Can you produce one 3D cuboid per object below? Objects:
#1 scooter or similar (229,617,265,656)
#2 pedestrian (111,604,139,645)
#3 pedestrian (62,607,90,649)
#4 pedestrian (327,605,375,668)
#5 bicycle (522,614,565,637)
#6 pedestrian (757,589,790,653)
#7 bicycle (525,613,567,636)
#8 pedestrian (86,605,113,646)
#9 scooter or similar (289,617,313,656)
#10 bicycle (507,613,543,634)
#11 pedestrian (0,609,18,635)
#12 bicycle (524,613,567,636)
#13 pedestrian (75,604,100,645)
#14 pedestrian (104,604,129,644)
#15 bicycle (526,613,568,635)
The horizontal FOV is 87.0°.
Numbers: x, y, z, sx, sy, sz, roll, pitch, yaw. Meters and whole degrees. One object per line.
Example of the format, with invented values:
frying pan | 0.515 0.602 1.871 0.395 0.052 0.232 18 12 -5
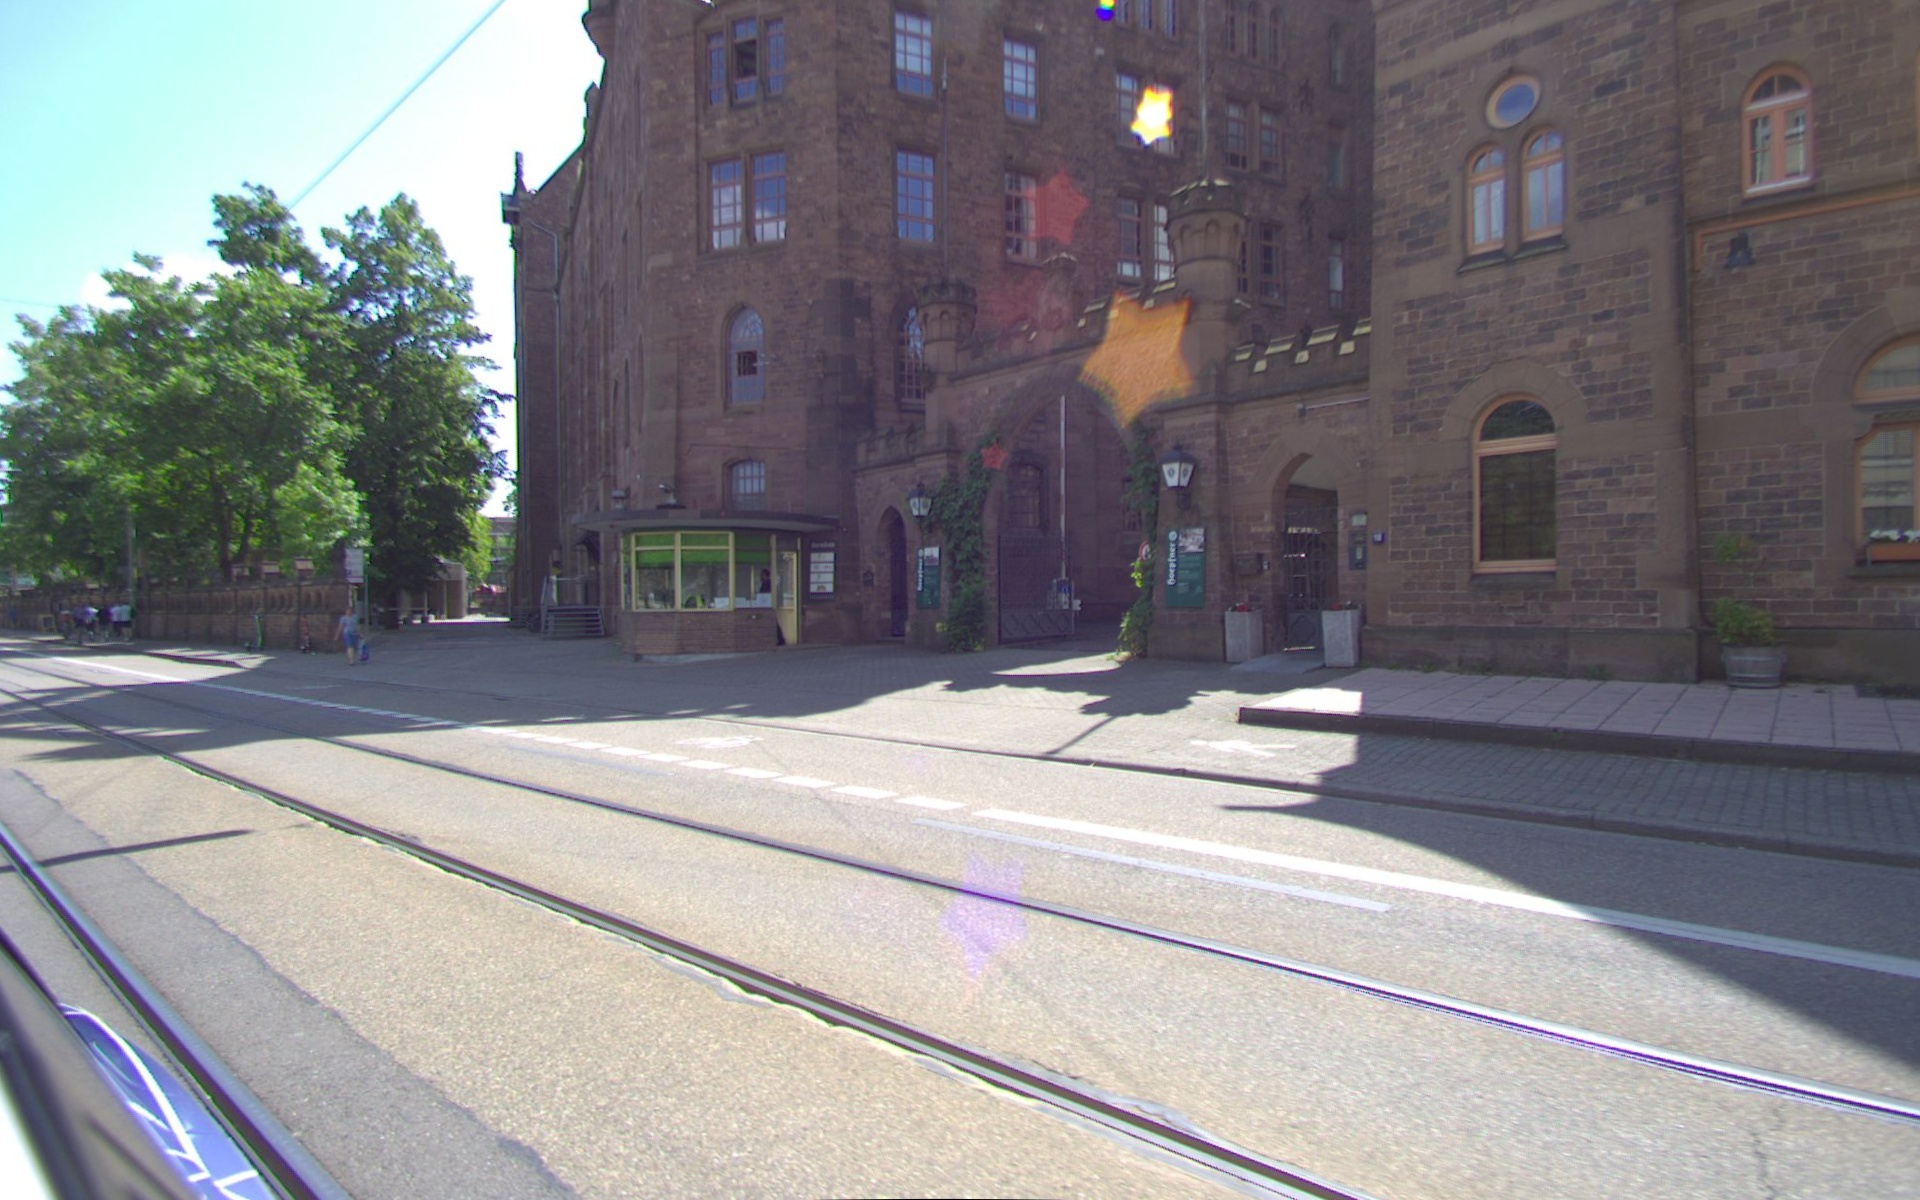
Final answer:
scooter or similar | -22.702 1.144 32.237 0.343 1.135 1.227 -1 2 -6
pedestrian | -37.435 1.081 45.366 0.919 1.789 0.745 -1 2 41
pedestrian | -38.990 1.237 44.624 0.919 1.805 0.714 -1 2 41
pedestrian | -16.197 0.953 26.916 0.919 1.600 0.791 1 4 41
bicycle | -19.179 1.172 46.656 1.753 1.001 0.494 -2 1 -15
pedestrian | -4.223 0.463 22.911 0.582 1.411 0.416 -1 1 41
bicycle | -19.569 1.146 47.818 1.753 1.001 0.494 -2 1 -15
pedestrian | -38.187 1.134 44.906 0.919 1.761 0.670 -1 2 41
scooter or similar | -19.761 1.084 30.361 0.324 1.135 1.227 -2 1 -21
bicycle | -21.775 1.168 50.683 0.490 1.001 1.767 -1 1 27
pedestrian | -67.644 1.563 71.979 0.919 1.761 0.741 -1 2 41
bicycle | -19.339 1.147 47.251 1.753 1.001 0.494 -2 1 -15
pedestrian | -39.781 1.120 46.134 0.919 1.803 0.670 -1 2 41
pedestrian | -39.230 1.106 47.059 0.919 1.789 0.670 -1 2 41
bicycle | -19.742 1.153 48.394 1.753 1.001 0.494 -2 1 -15
